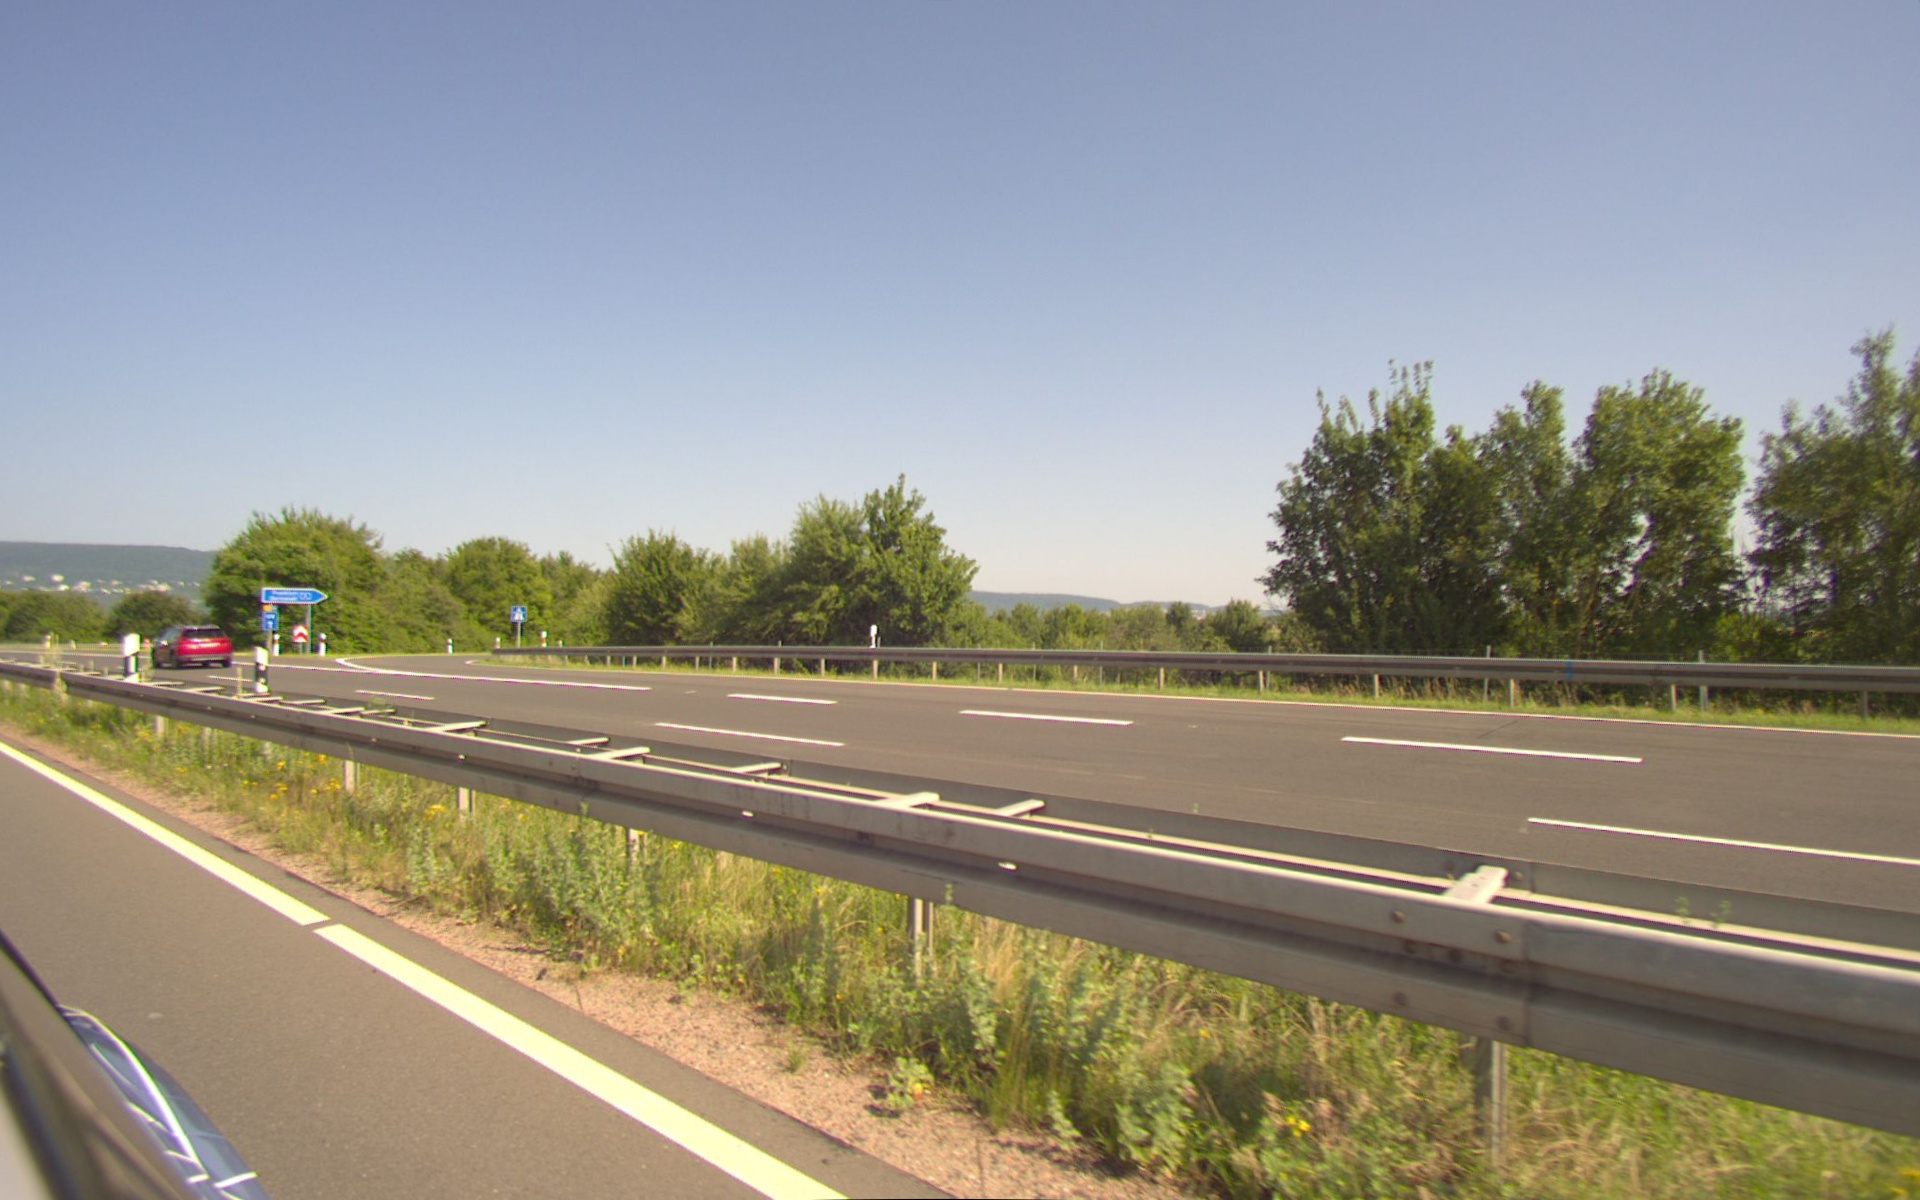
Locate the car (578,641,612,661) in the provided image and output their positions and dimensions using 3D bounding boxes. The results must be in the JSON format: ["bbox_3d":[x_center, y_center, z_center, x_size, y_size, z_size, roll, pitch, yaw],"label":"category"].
[{"bbox_3d":[-30.901,4.358,85.687,1.573,1.505,4.820,3,-4,-7],"label":"car"}]

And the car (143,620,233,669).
[{"bbox_3d":[-27.825,1.563,36.425,4.260,1.586,1.626,-1,0,39],"label":"car"}]
